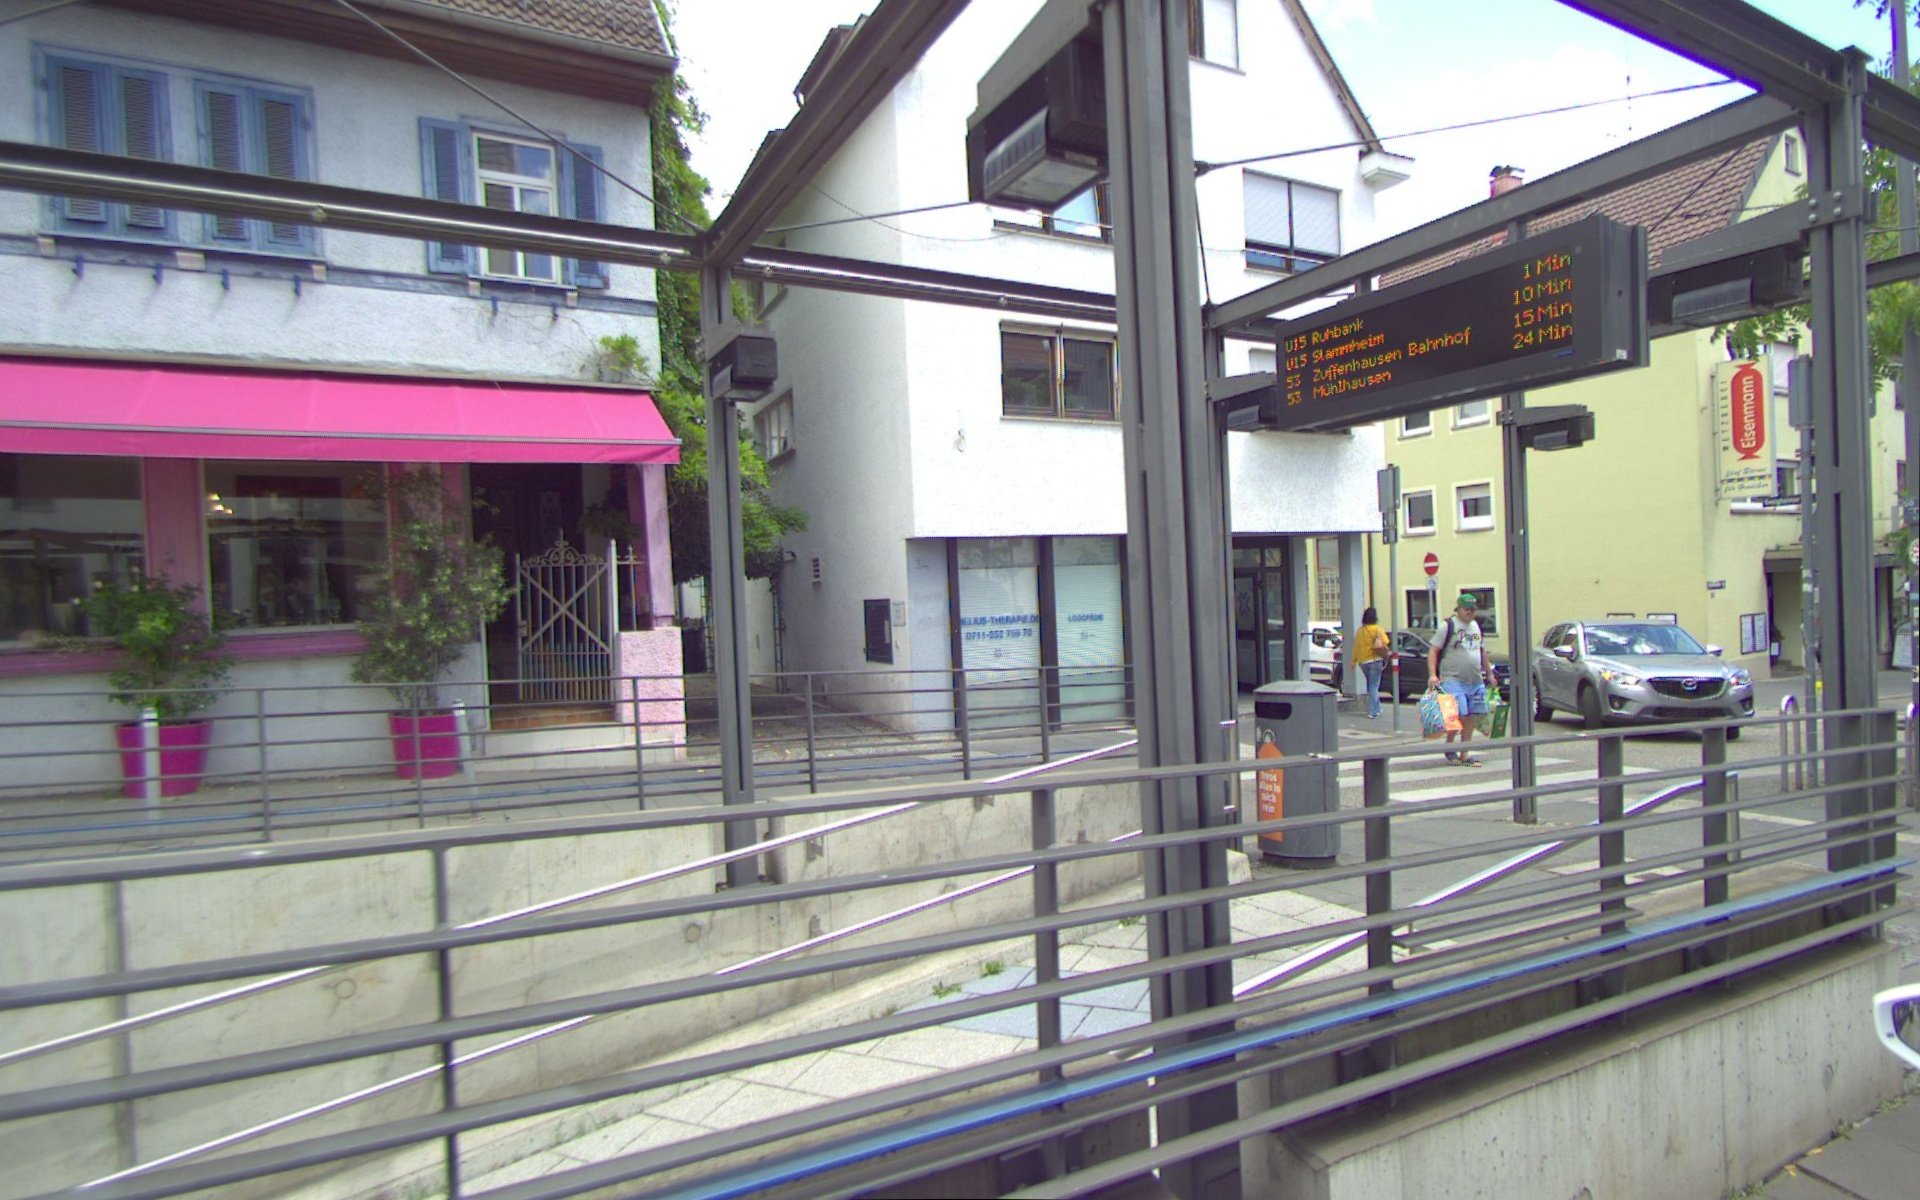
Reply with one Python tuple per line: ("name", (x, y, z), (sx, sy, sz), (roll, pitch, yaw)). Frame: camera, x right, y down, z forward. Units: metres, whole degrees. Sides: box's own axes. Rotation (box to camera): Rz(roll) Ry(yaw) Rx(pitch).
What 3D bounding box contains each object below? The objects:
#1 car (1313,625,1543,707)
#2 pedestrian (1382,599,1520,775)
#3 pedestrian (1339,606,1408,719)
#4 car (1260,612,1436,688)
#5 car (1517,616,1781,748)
("car", (9.991, 1.349, 21.848), (1.889, 1.589, 4.345), (0, -2, -25))
("pedestrian", (5.325, 0.909, 10.946), (0.971, 1.811, 0.917), (0, -1, -14))
("pedestrian", (6.650, 0.990, 16.161), (0.827, 1.761, 0.633), (1, -3, -33))
("car", (10.665, 1.425, 27.964), (1.973, 1.829, 4.327), (-3, -3, -26))
("car", (9.876, 1.098, 14.863), (1.930, 1.642, 4.357), (-1, -2, 16))
